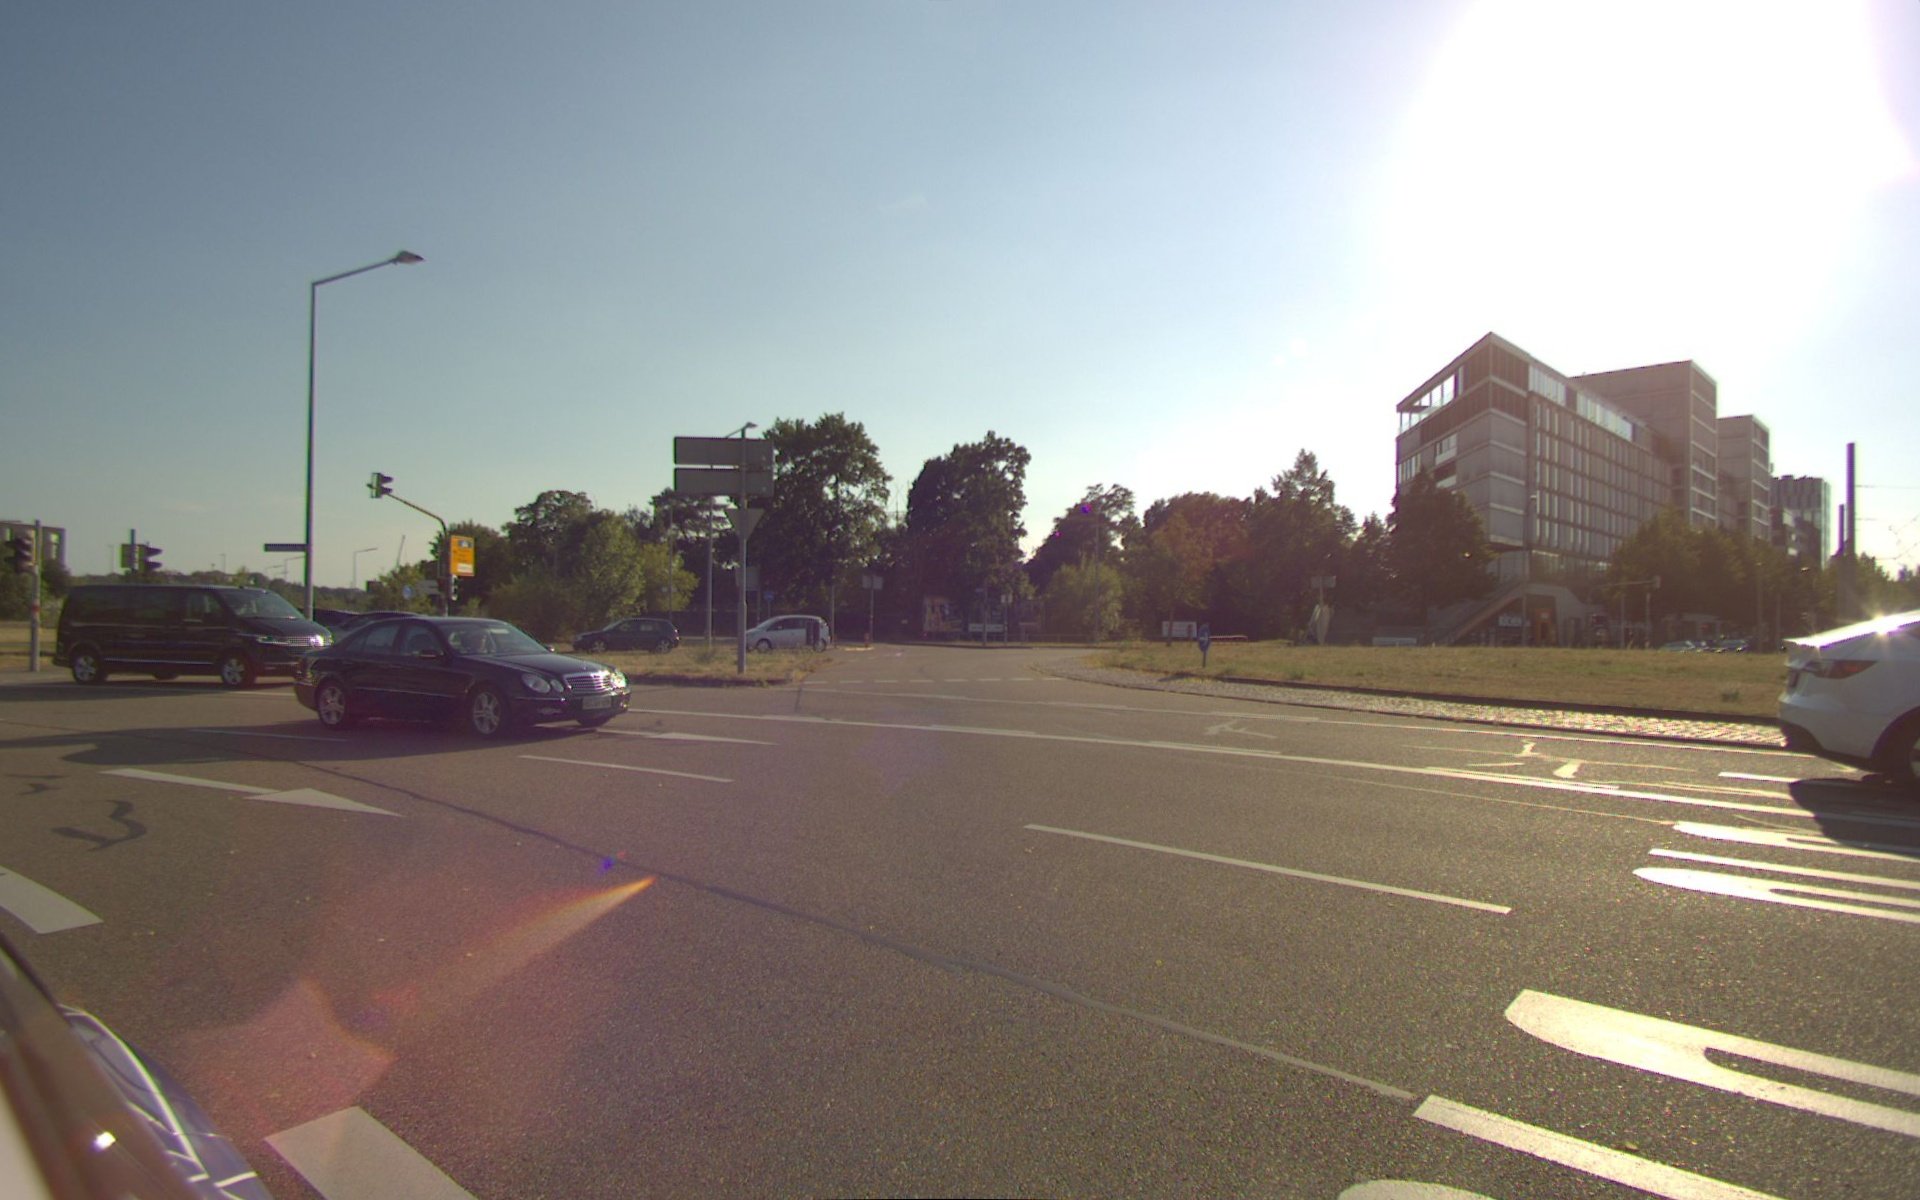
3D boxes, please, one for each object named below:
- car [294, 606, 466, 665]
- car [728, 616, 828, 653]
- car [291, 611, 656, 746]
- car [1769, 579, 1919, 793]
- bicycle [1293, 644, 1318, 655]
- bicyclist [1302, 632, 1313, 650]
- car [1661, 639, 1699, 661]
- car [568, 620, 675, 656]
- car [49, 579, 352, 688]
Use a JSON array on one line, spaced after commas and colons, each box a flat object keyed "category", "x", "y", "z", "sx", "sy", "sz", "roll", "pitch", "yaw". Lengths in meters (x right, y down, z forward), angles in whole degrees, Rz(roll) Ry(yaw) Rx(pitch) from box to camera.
[{"category": "car", "x": -17.252, "y": 1.053, "z": 30.302, "sx": 4.130, "sy": 1.686, "sz": 1.781, "roll": 1, "pitch": -1, "yaw": -13}, {"category": "car", "x": -7.788, "y": 1.451, "z": 43.390, "sx": 3.877, "sy": 1.537, "sz": 1.661, "roll": 1, "pitch": -1, "yaw": -32}, {"category": "car", "x": -6.235, "y": 0.884, "z": 12.922, "sx": 4.468, "sy": 1.447, "sz": 1.796, "roll": 0, "pitch": -1, "yaw": 25}, {"category": "car", "x": 9.019, "y": 0.665, "z": 7.426, "sx": 4.666, "sy": 1.611, "sz": 1.720, "roll": 1, "pitch": 0, "yaw": 35}, {"category": "bicycle", "x": 24.898, "y": 3.586, "z": 72.951, "sx": 1.703, "sy": 0.750, "sz": 0.479, "roll": 0, "pitch": -1, "yaw": 12}, {"category": "bicyclist", "x": 25.028, "y": 2.951, "z": 72.931, "sx": 0.647, "sy": 1.336, "sz": 0.517, "roll": 0, "pitch": -1, "yaw": 12}, {"category": "car", "x": 51.493, "y": 3.541, "z": 72.331, "sx": 3.248, "sy": 1.487, "sz": 1.487, "roll": 2, "pitch": -2, "yaw": -41}, {"category": "car", "x": -13.361, "y": 1.513, "z": 40.031, "sx": 3.765, "sy": 1.359, "sz": 1.485, "roll": 2, "pitch": -2, "yaw": -30}, {"category": "car", "x": -14.960, "y": 0.616, "z": 20.038, "sx": 4.955, "sy": 1.946, "sz": 1.857, "roll": 1, "pitch": 0, "yaw": 9}]
